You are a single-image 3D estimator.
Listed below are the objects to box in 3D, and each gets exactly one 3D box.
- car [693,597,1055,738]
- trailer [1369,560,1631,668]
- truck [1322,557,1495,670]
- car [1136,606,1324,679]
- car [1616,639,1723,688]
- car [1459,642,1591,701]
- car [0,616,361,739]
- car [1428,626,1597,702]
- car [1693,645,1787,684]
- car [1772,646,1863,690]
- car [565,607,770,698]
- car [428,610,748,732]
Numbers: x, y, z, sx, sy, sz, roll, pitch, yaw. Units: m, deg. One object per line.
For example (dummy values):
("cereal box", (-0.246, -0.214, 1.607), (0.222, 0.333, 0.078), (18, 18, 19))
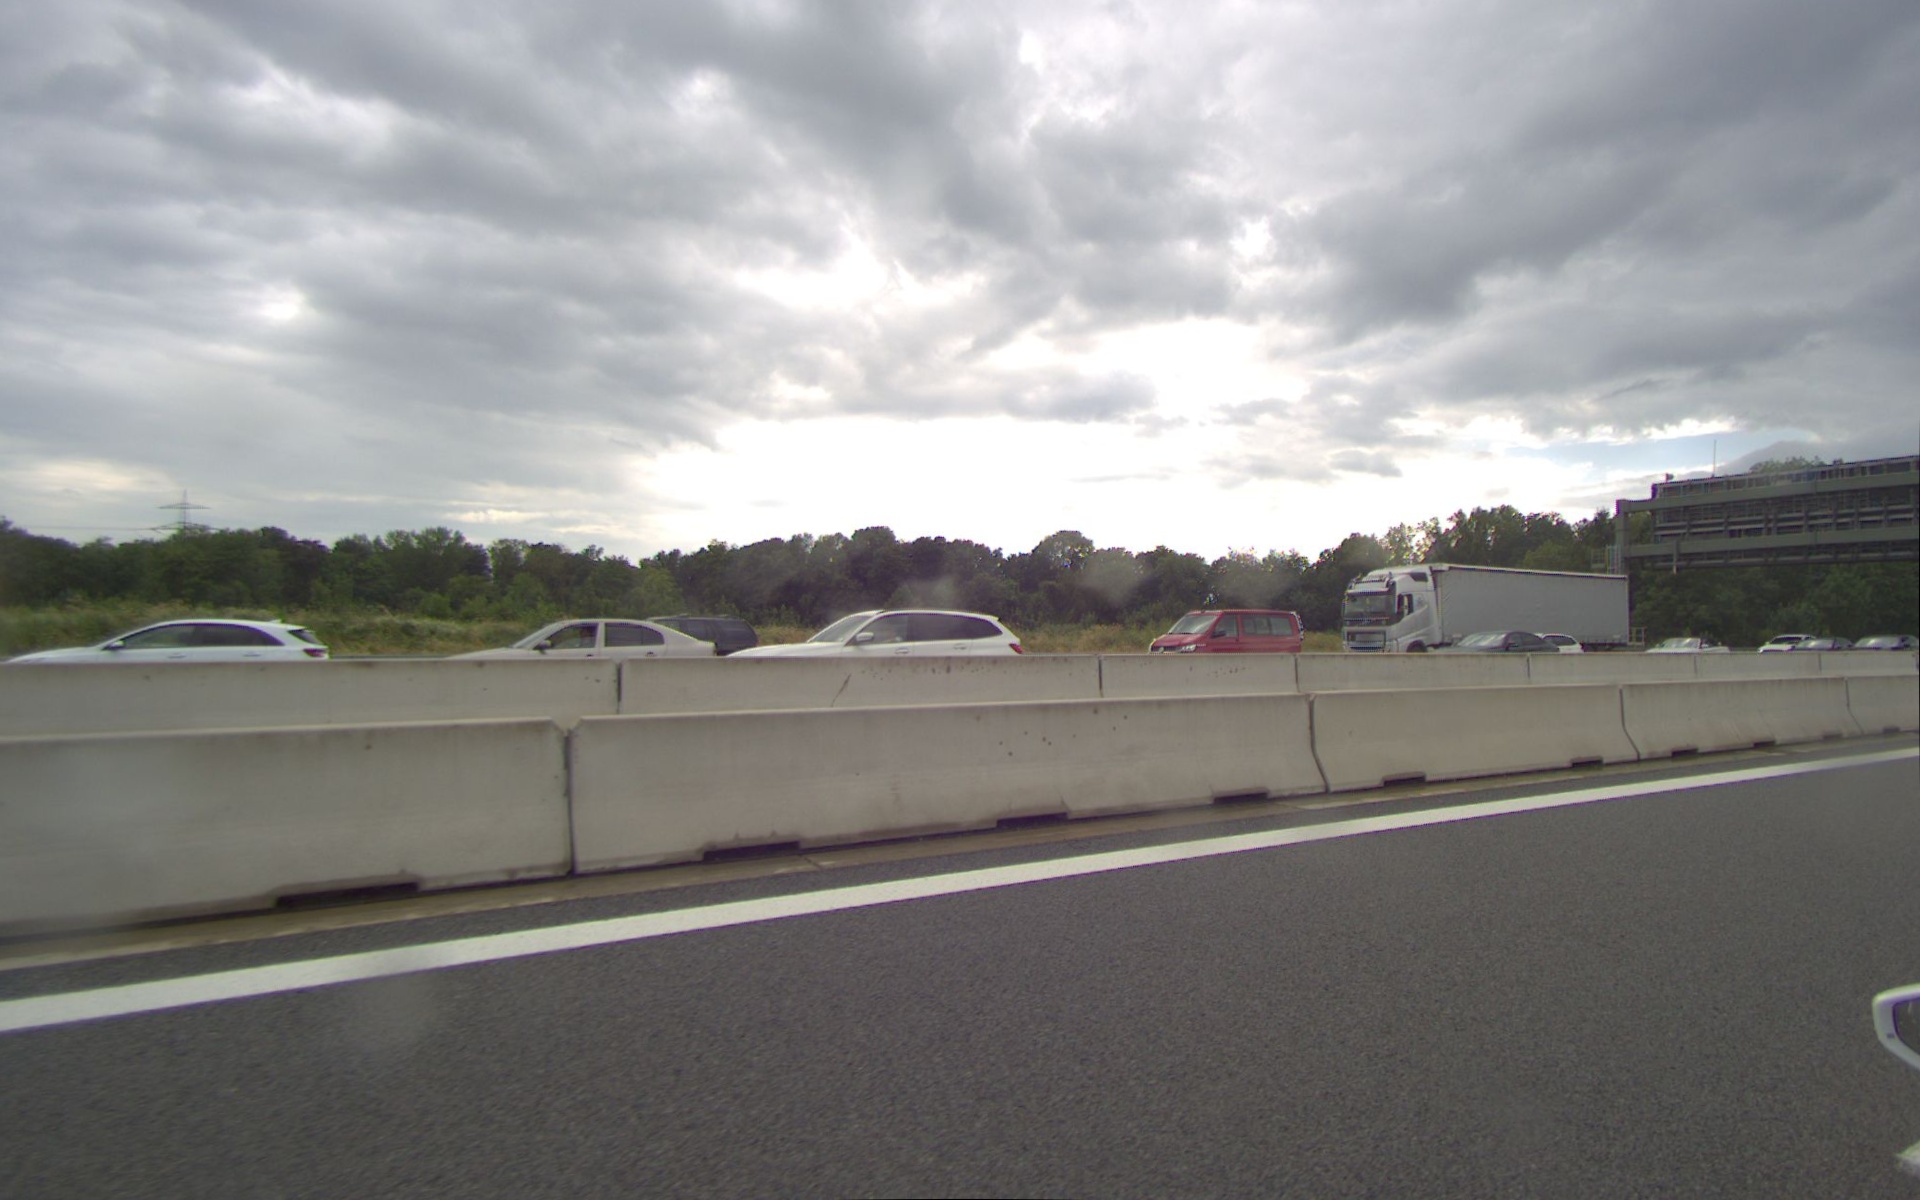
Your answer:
("car", (-1.170, 0.874, 14.470), (4.815, 1.737, 1.984), (1, 0, -31))
("trailer", (23.252, 0.665, 42.754), (13.646, 4.082, 3.223), (1, 0, -31))
("truck", (17.615, 0.542, 39.390), (6.159, 4.111, 3.205), (1, 0, -30))
("car", (7.744, 1.175, 28.634), (5.328, 1.898, 1.984), (1, 0, -30))
("car", (28.619, 2.500, 40.479), (4.618, 1.805, 1.812), (1, 0, -31))
("car", (20.179, 2.502, 35.843), (4.704, 1.898, 1.984), (1, 0, -30))
("car", (-12.554, 1.176, 16.435), (4.644, 1.737, 1.984), (1, 0, -31))
("car", (15.387, 1.714, 27.931), (4.704, 1.898, 1.984), (1, 0, -30))
("car", (42.557, 3.477, 54.814), (4.770, 1.978, 2.420), (1, 0, -29))
("car", (40.964, 3.214, 47.981), (4.310, 1.916, 1.984), (1, 0, -30))
("car", (-7.162, 1.248, 24.705), (4.488, 2.040, 1.984), (1, 0, -30))
("car", (-6.033, 1.074, 16.437), (4.644, 1.737, 1.984), (1, 0, -31))
